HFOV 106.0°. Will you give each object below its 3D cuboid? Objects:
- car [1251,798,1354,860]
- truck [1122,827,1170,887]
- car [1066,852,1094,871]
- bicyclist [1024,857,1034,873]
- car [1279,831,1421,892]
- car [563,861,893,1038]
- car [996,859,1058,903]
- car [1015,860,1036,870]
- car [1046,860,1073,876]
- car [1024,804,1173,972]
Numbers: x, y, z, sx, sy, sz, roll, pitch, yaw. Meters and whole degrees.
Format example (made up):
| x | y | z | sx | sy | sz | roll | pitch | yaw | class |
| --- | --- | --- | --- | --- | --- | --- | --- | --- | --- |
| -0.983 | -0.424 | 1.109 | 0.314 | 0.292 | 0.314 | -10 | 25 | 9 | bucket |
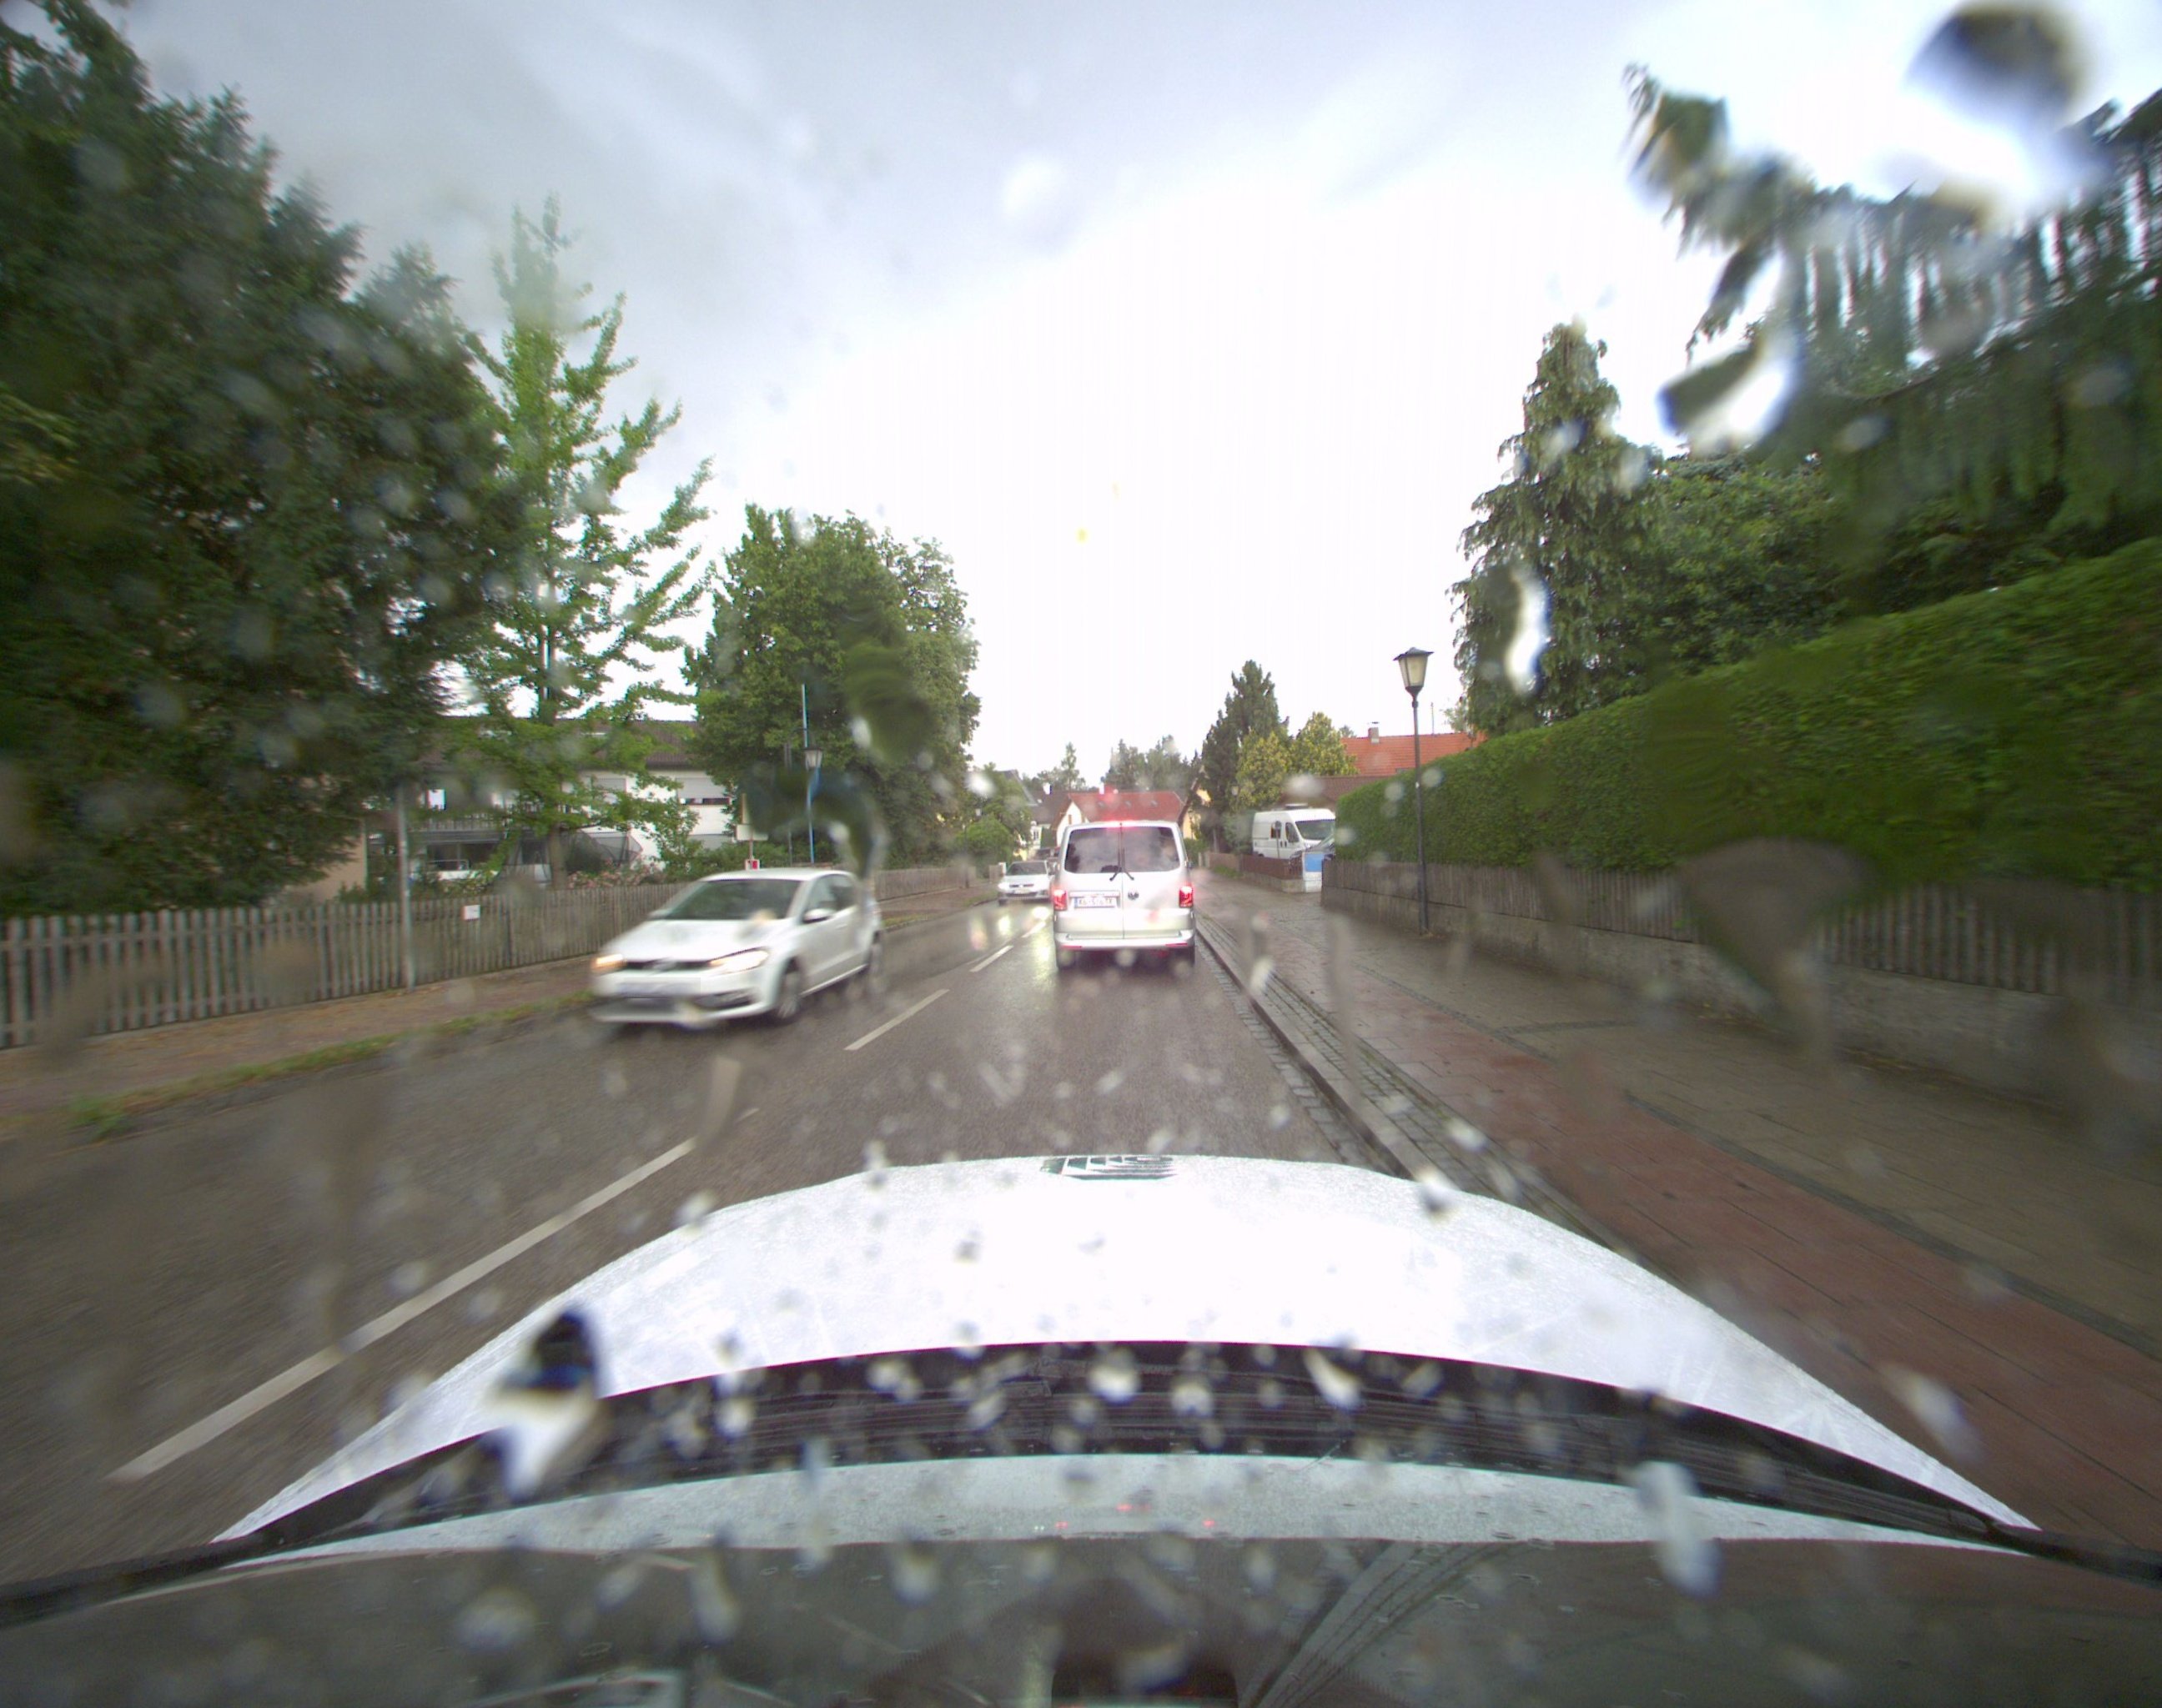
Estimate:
| x | y | z | sx | sy | sz | roll | pitch | yaw | class |
| --- | --- | --- | --- | --- | --- | --- | --- | --- | --- |
| 8.498 | -0.903 | 31.766 | 1.994 | 2.173 | 4.936 | 0 | -1 | -10 | car |
| 3.526 | 0.190 | 45.257 | 2.465 | 3.074 | 6.301 | -1 | -1 | 3 | truck |
| -0.136 | 0.857 | 91.895 | 1.998 | 2.014 | 3.976 | 0 | -1 | -17 | car |
| -3.513 | 0.742 | 55.067 | 0.585 | 1.021 | 1.061 | -2 | 0 | 3 | bicyclist |
| 8.729 | 0.216 | 26.638 | 4.080 | 1.751 | 1.694 | -3 | 2 | -1 | car |
| -3.381 | 0.827 | 8.620 | 1.610 | 1.444 | 3.675 | -1 | -1 | 5 | car |
| -1.817 | 0.915 | 28.566 | 1.709 | 1.442 | 4.003 | -1 | -1 | 3 | car |
| -7.658 | 1.521 | 111.767 | 1.788 | 1.310 | 3.745 | 0 | -1 | -24 | car |
| -2.301 | 1.510 | 86.672 | 1.832 | 1.558 | 4.152 | -2 | -1 | -17 | car |
| 0.410 | 0.443 | 11.854 | 1.792 | 2.014 | 4.006 | -1 | -1 | 6 | car |
